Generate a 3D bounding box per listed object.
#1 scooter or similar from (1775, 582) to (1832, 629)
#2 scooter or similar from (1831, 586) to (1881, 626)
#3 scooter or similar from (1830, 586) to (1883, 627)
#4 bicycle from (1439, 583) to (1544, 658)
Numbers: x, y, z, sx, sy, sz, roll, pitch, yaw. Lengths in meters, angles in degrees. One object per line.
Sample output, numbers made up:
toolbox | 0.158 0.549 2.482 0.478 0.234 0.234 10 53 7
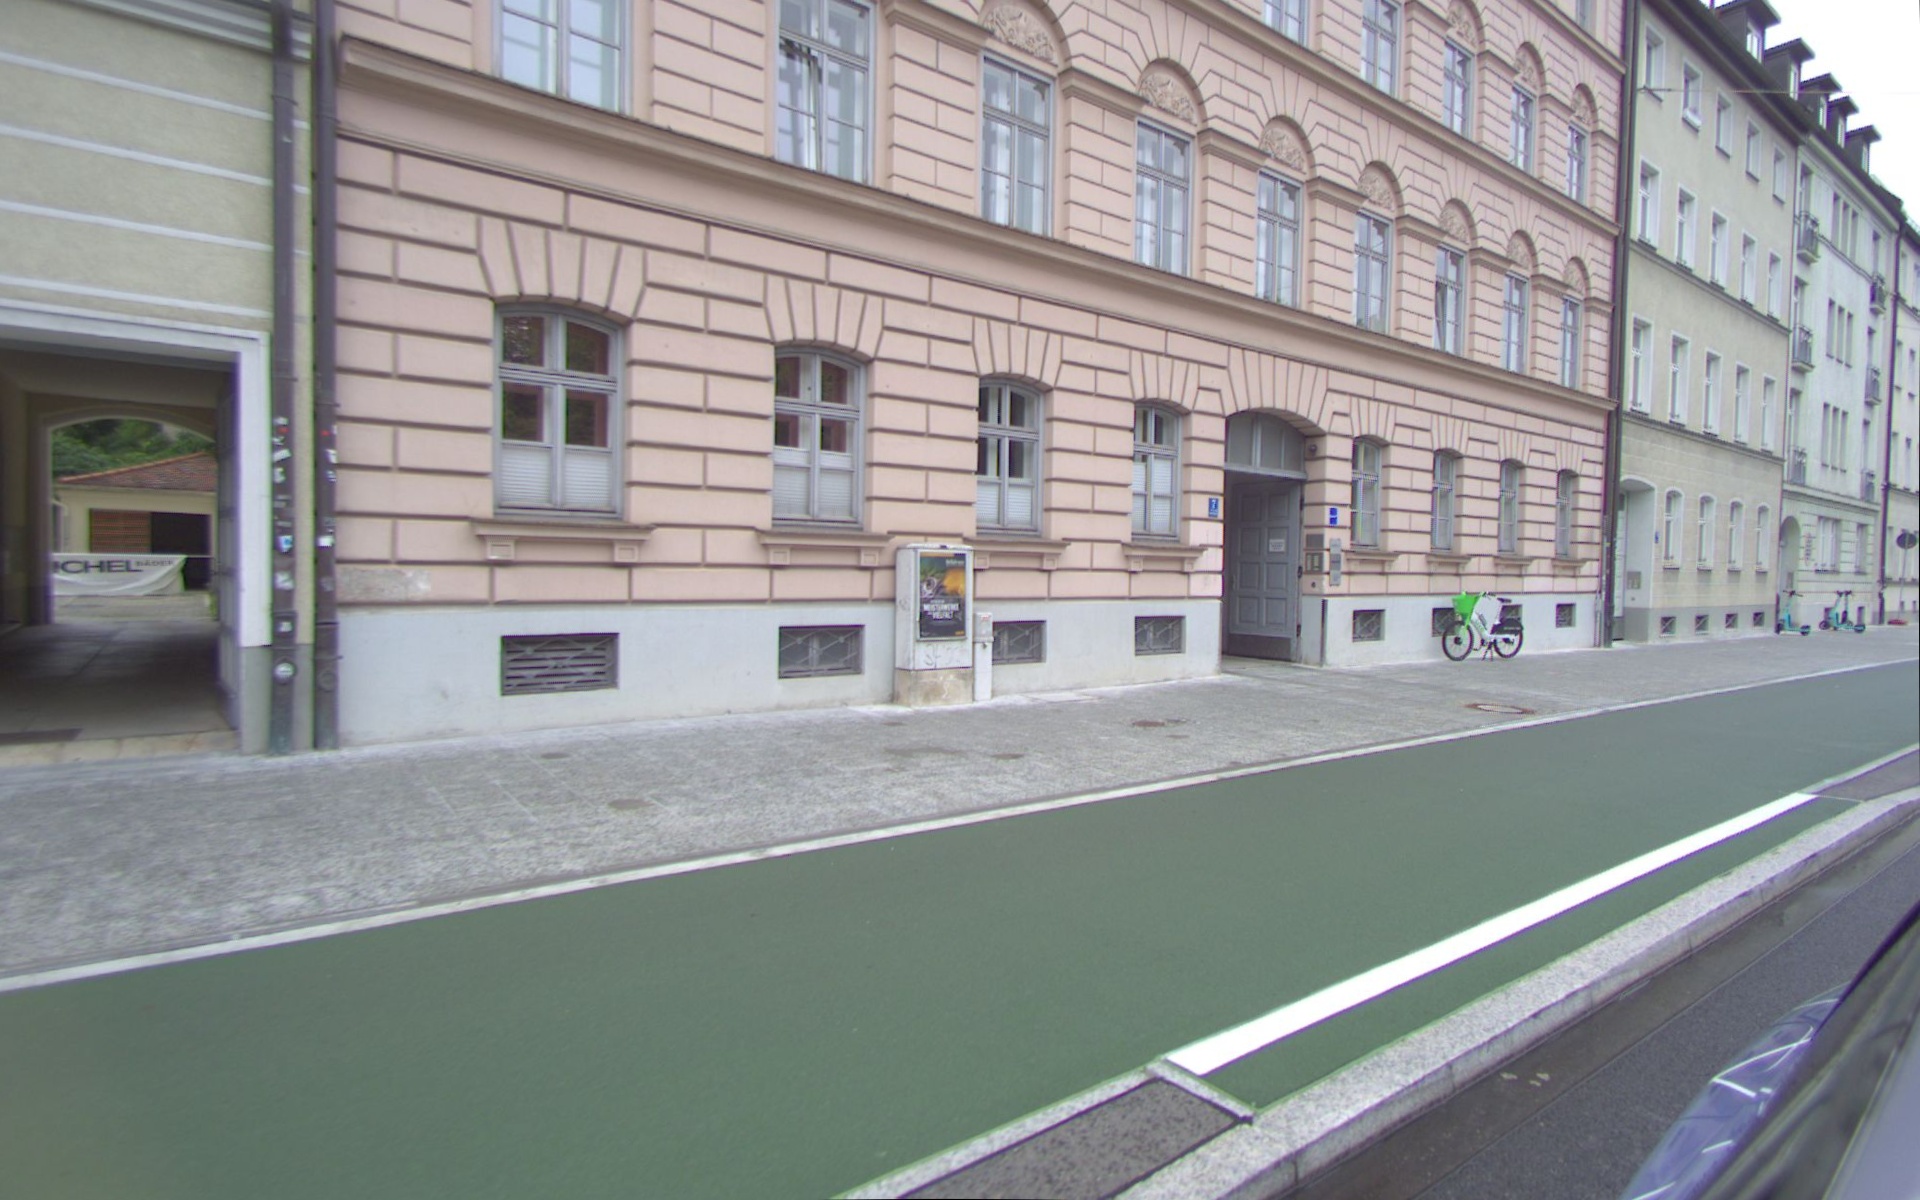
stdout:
scooter or similar | 23.276 0.150 27.927 1.056 1.260 0.554 1 2 -2
scooter or similar | 28.041 0.187 31.679 1.061 1.206 0.435 2 2 14
scooter or similar | 27.163 0.193 30.663 1.065 1.206 0.450 2 2 24
bicycle | 8.850 0.331 16.842 1.689 1.191 0.559 0 2 -23
